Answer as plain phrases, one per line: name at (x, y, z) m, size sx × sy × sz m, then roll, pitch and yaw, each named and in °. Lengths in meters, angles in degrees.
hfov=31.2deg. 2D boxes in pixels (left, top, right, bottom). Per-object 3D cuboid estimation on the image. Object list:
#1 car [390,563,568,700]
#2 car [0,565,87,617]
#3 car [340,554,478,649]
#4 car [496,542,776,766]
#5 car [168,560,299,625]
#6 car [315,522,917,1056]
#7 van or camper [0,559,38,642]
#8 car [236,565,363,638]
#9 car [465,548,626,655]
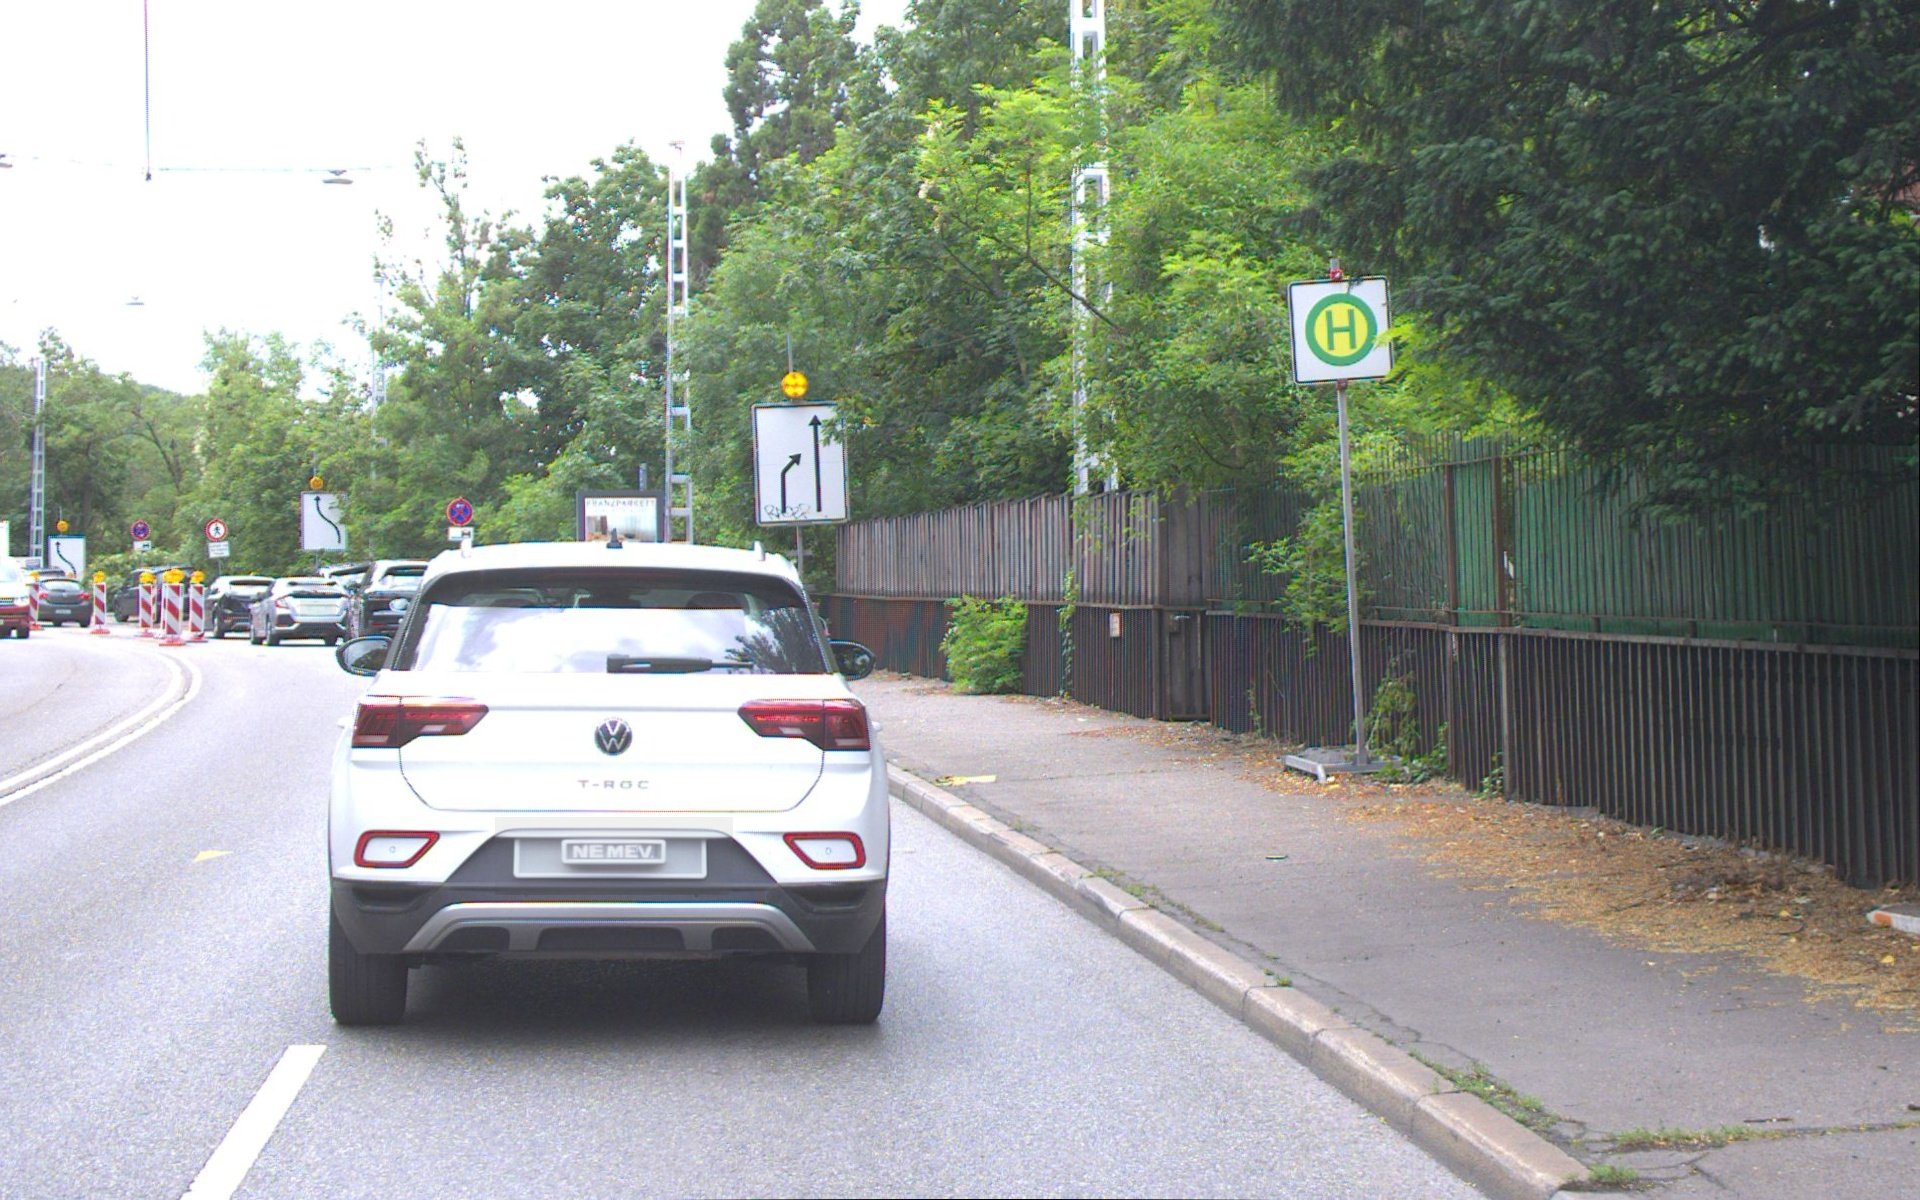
car at (-5.502, 0.340, 38.990) m, size 1.757 × 1.466 × 3.796 m, roll 0°, pitch 0°, yaw -11°
car at (-26.335, -0.266, 98.589) m, size 1.780 × 1.449 × 4.001 m, roll 0°, pitch 0°, yaw -25°
car at (-9.468, 0.000, 58.856) m, size 1.993 × 1.551 × 4.152 m, roll 0°, pitch 1°, yaw -14°
car at (-2.588, 0.387, 26.726) m, size 1.757 × 1.604 × 3.796 m, roll 0°, pitch 0°, yaw -12°
car at (-17.173, -0.164, 81.120) m, size 1.993 × 1.445 × 4.151 m, roll -1°, pitch 0°, yaw -27°
car at (-1.333, 0.548, 11.993) m, size 1.757 × 1.550 × 3.796 m, roll 0°, pitch 0°, yaw -10°
van or camper at (-22.858, 0.019, 80.864) m, size 1.889 × 1.872 × 4.766 m, roll -1°, pitch 0°, yaw -11°
car at (-13.727, 0.044, 71.272) m, size 1.993 × 1.445 × 4.151 m, roll -1°, pitch 0°, yaw -19°
car at (-5.949, 0.037, 48.939) m, size 1.993 × 1.409 × 4.151 m, roll -2°, pitch 0°, yaw -10°
